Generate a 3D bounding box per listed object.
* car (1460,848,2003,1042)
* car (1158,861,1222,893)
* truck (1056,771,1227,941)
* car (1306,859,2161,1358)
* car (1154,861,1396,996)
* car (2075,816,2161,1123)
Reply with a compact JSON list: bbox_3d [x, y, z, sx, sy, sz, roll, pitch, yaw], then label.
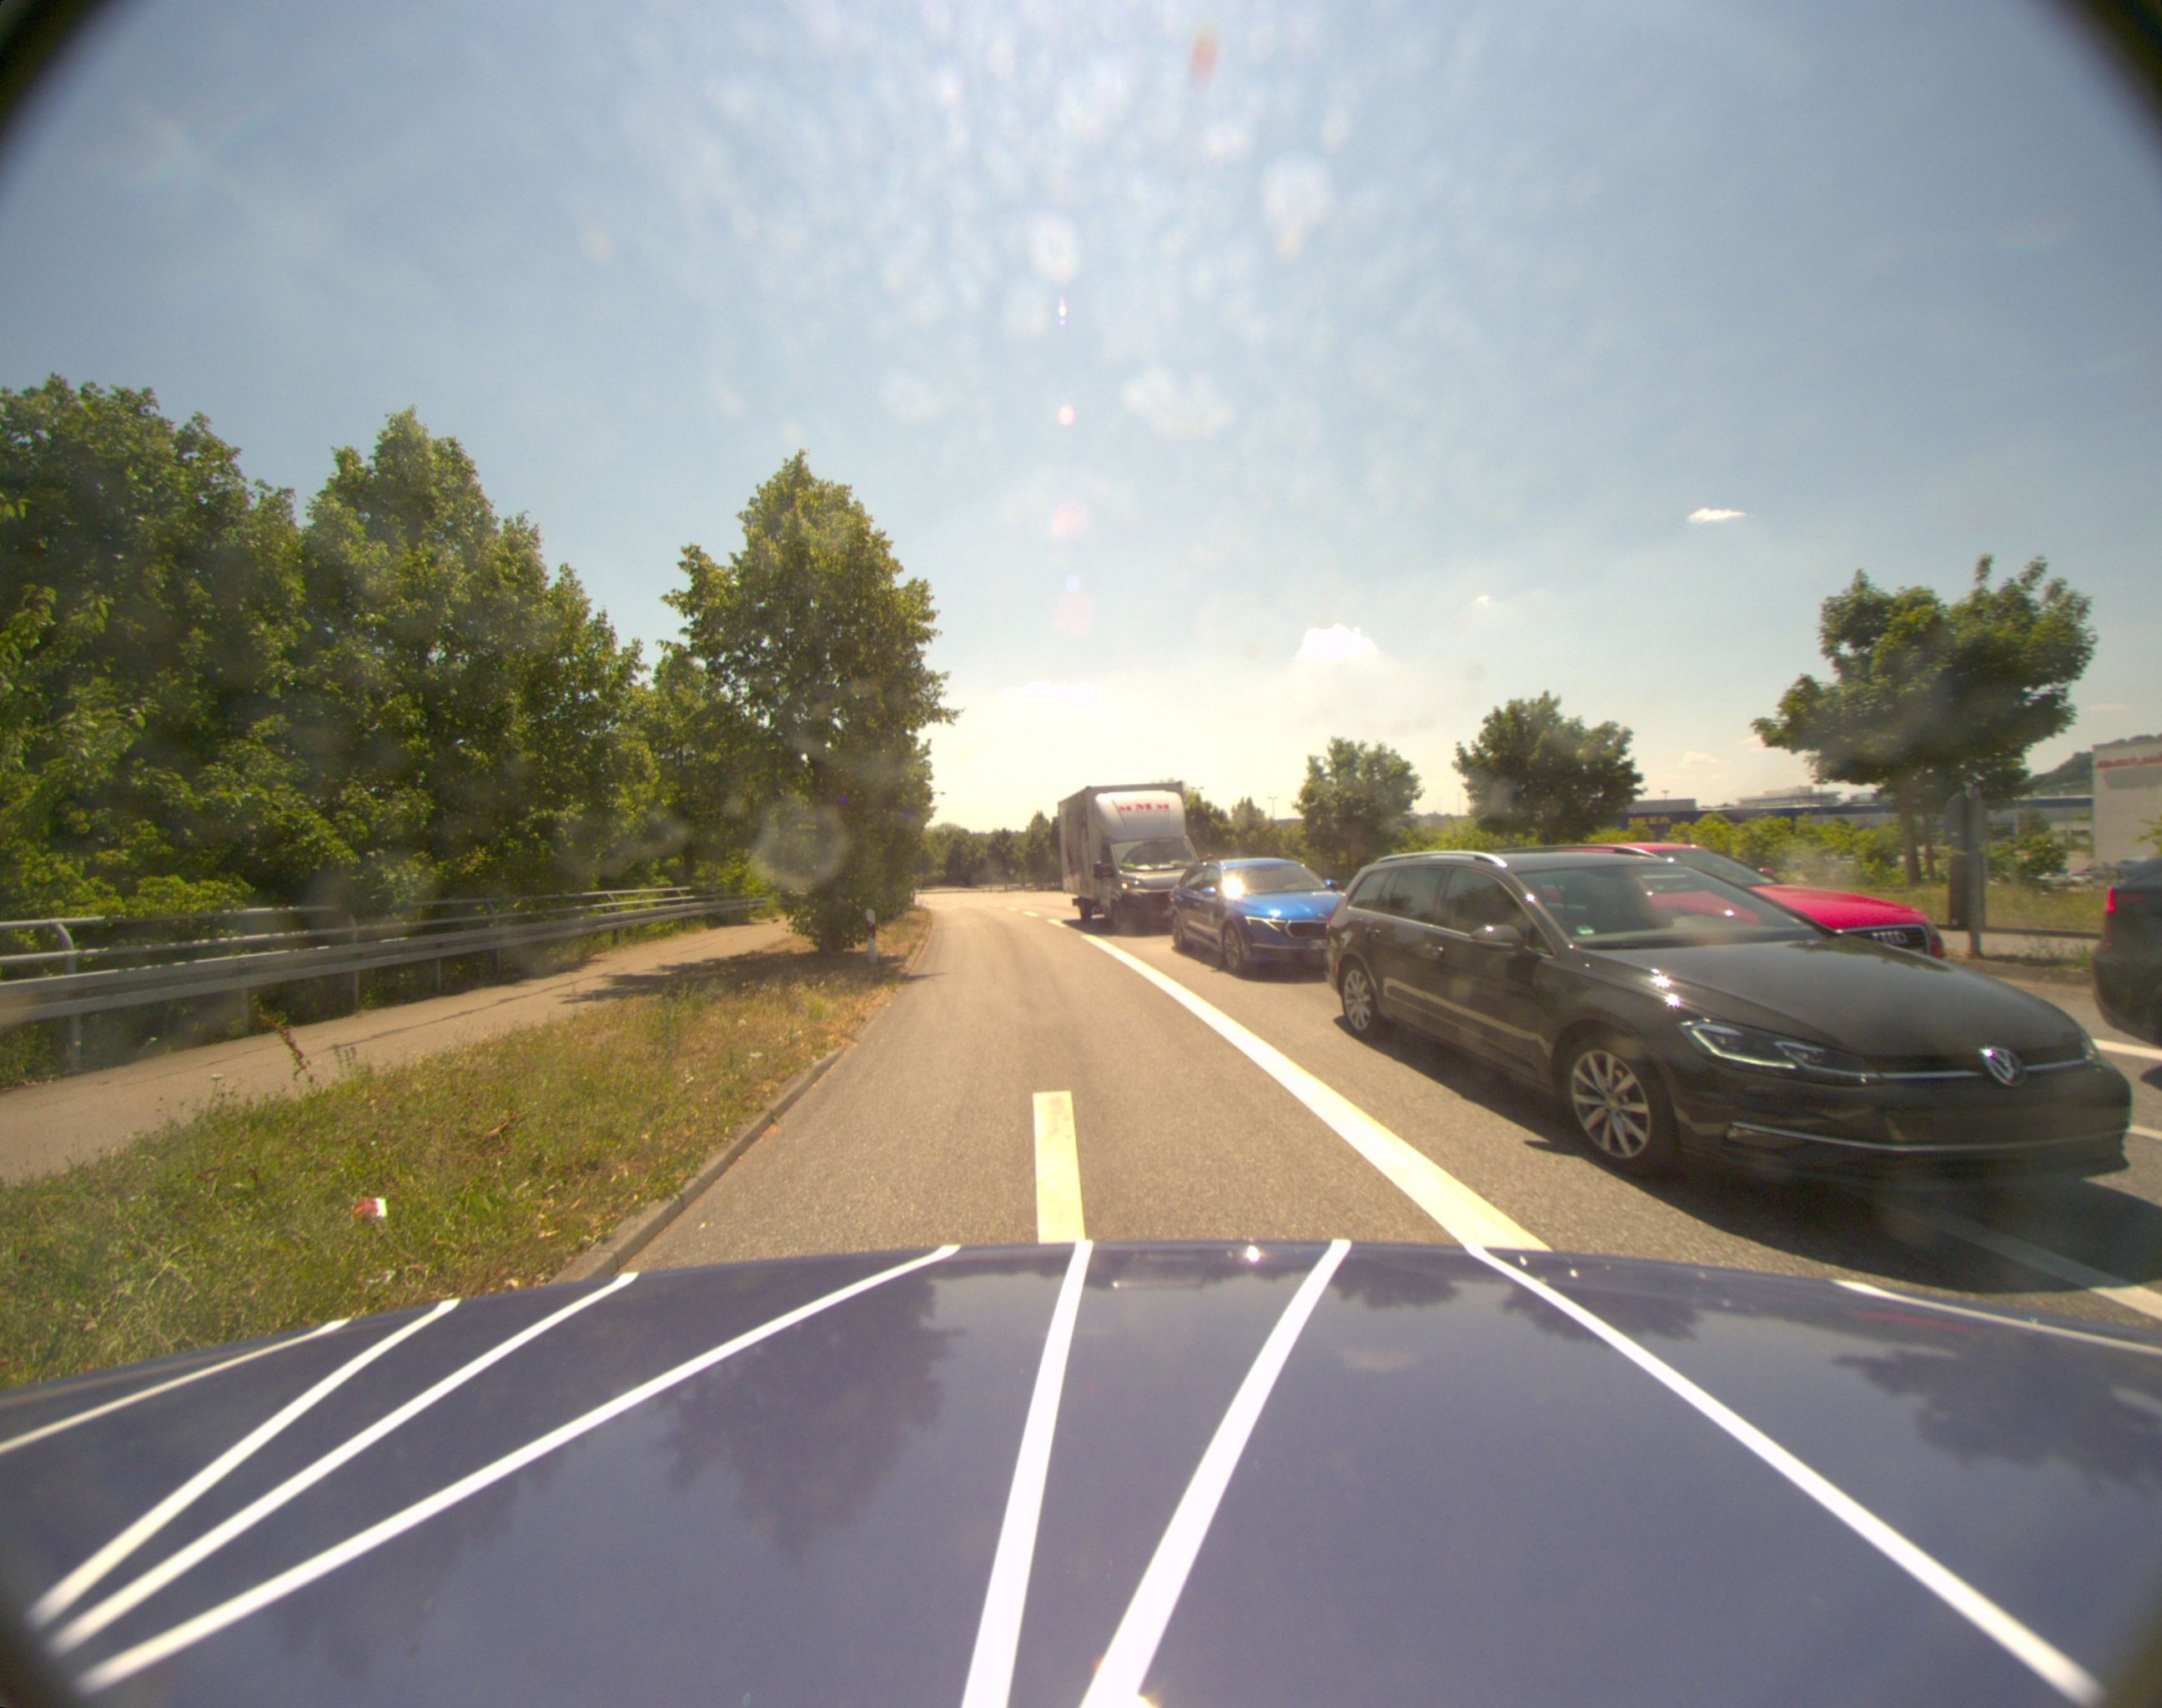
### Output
[{"bbox_3d":[6.123,0.675,8.042,1.665,1.380,4.447,-3,1,-5],"label":"car"},{"bbox_3d":[7.175,1.480,50.342,2.003,1.949,3.990,-2,1,-34],"label":"car"},{"bbox_3d":[1.113,0.108,18.800,2.416,3.327,7.198,-2,-1,-9],"label":"truck"},{"bbox_3d":[3.094,0.819,4.667,1.783,1.474,4.427,-2,0,-4],"label":"car"},{"bbox_3d":[2.479,0.886,10.997,1.713,1.454,4.486,-3,-1,-9],"label":"car"},{"bbox_3d":[6.689,0.583,2.087,1.880,1.591,4.503,-2,1,-5],"label":"car"}]
